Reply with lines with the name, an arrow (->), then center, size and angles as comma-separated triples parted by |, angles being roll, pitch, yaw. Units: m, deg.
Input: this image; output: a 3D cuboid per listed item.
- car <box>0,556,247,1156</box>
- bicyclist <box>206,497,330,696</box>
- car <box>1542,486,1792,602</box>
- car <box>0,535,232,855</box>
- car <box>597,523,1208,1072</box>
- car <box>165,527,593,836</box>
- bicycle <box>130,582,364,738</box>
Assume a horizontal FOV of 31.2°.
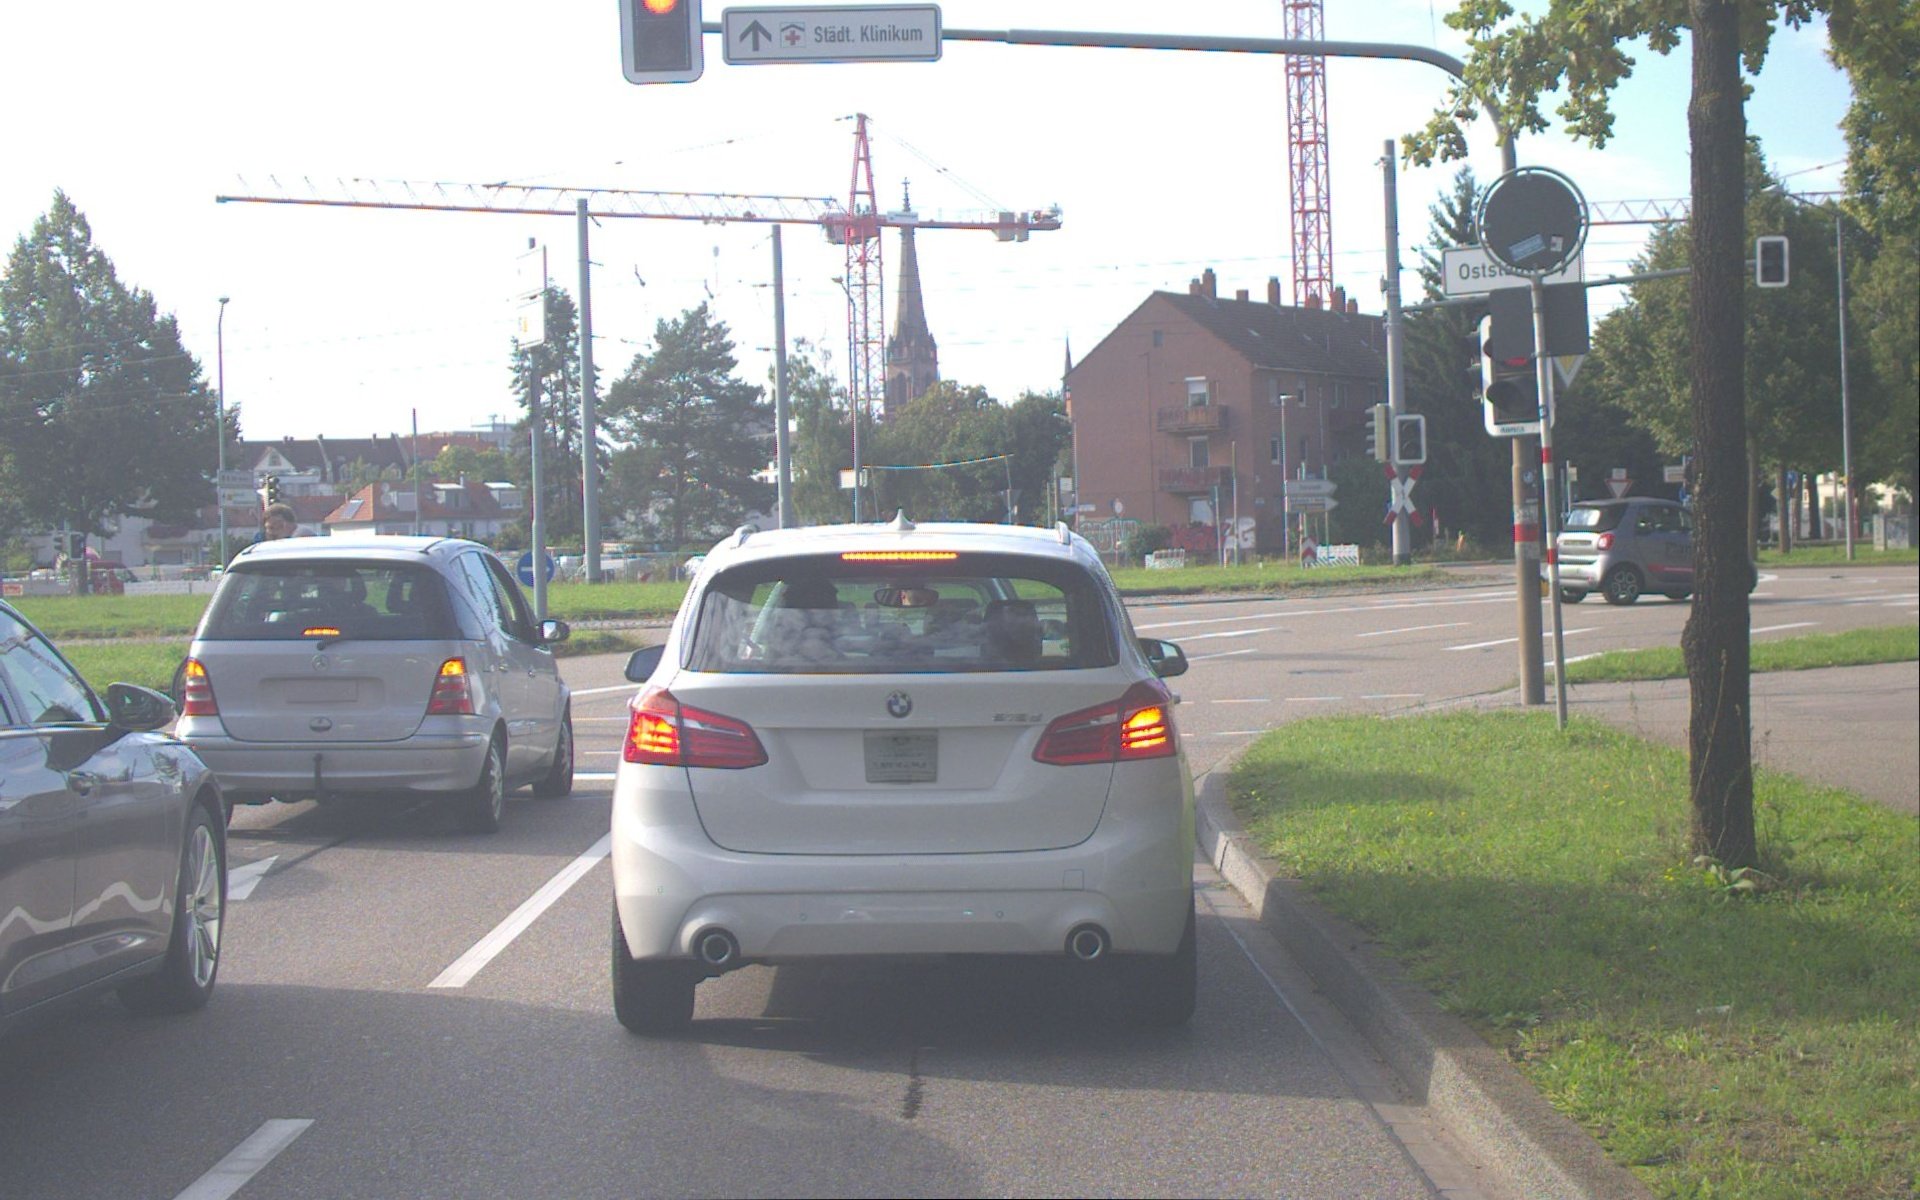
car -> -3.327, 0.629, 9.290 | 1.890, 1.478, 4.613 | 0, 1, -1
bicyclist -> -5.461, -0.032, 27.110 | 0.848, 1.521, 0.741 | -2, 1, -17
car -> 10.326, -0.842, 50.280 | 3.187, 1.568, 1.575 | -2, 2, -17
car -> -5.104, 0.425, 18.311 | 1.680, 1.517, 3.811 | -1, 1, -1
car -> -0.191, 0.526, 11.809 | 1.729, 1.553, 4.058 | 0, 1, -1
car -> -3.141, 0.374, 19.331 | 1.729, 1.553, 4.058 | 0, 1, 0
bicycle -> -5.618, 0.460, 27.084 | 1.724, 1.159, 0.656 | -2, 1, -16
